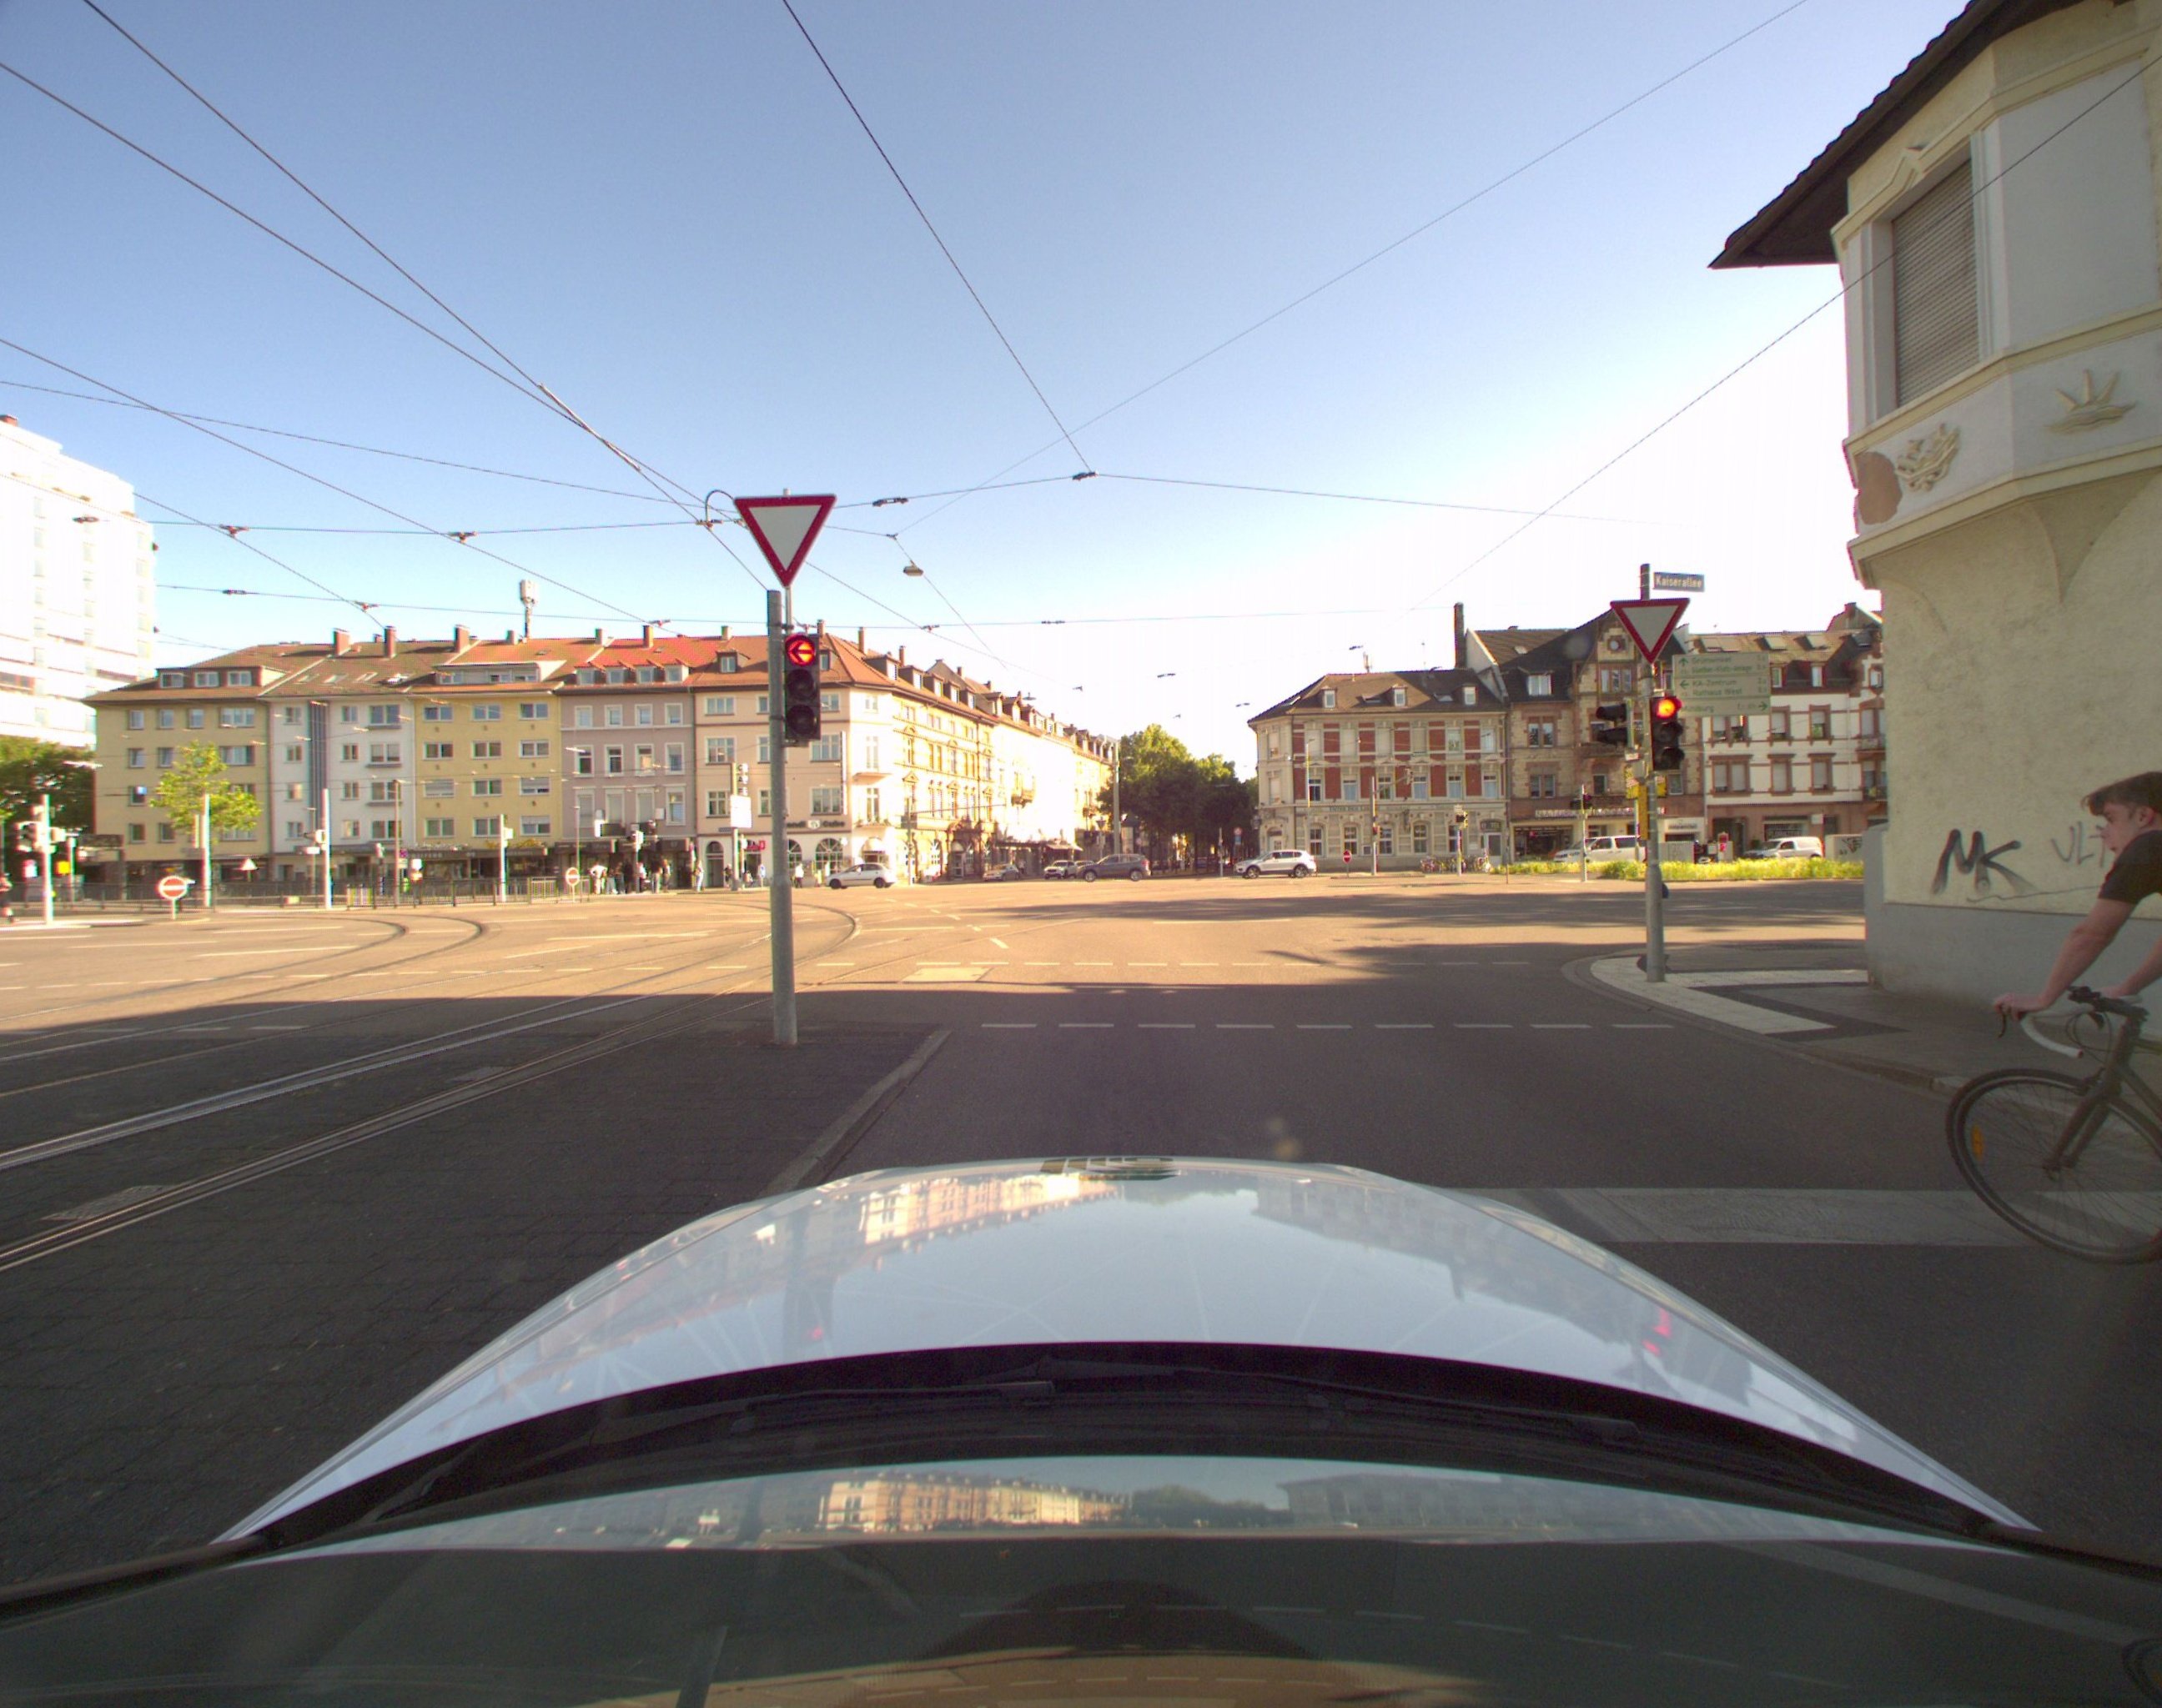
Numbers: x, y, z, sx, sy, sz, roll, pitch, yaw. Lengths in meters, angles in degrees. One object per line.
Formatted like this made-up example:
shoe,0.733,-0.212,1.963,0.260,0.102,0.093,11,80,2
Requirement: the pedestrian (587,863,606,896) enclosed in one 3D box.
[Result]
pedestrian,-25.092,1.306,42.171,0.773,1.682,0.621,-1,0,-36

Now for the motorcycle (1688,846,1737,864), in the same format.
motorcycle,32.140,0.052,41.443,2.033,0.897,0.562,-1,0,1

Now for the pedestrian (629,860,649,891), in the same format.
pedestrian,-22.918,1.091,42.204,0.697,1.581,0.559,-1,0,-4

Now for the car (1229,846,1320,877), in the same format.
car,11.351,0.426,47.990,4.840,1.653,1.999,-1,0,-1

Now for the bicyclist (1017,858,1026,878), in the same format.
bicyclist,-4.763,1.094,65.471,0.486,1.601,0.668,-1,0,12

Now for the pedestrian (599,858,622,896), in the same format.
pedestrian,-23.387,1.115,40.474,0.625,1.850,0.778,-1,0,1

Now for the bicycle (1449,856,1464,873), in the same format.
bicycle,24.318,0.683,52.805,0.483,1.020,1.789,-1,0,12

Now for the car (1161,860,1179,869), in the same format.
car,14.338,1.709,131.260,1.977,1.404,4.189,-1,0,18

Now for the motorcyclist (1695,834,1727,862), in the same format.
motorcyclist,32.077,-0.310,41.463,0.999,1.355,0.744,-1,0,2

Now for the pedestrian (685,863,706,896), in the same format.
pedestrian,-19.859,1.305,42.009,0.738,1.682,0.628,-1,0,1

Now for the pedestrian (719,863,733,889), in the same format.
pedestrian,-23.071,1.409,52.933,0.744,1.682,0.623,-1,0,-23

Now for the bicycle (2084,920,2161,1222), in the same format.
bicycle,4.504,0.861,2.489,0.568,1.165,1.890,-1,0,2

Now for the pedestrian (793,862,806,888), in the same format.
pedestrian,-18.794,1.384,54.325,0.744,1.682,0.623,-1,0,-23

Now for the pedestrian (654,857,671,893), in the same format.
pedestrian,-21.619,1.080,42.048,0.559,1.786,0.559,-1,0,-4

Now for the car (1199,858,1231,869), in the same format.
car,17.342,1.227,105.161,3.959,1.288,1.700,-1,0,13

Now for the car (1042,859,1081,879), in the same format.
car,-1.585,1.218,67.670,1.977,1.516,4.189,-1,0,18

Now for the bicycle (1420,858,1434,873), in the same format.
bicycle,22.486,0.734,52.977,0.483,0.914,1.789,-1,0,12

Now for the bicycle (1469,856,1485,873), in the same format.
bicycle,25.632,0.674,52.762,0.483,1.020,1.789,-1,0,12

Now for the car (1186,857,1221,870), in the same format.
car,14.969,1.157,99.507,3.959,1.454,1.687,-1,0,13

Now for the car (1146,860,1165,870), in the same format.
car,11.208,1.689,122.501,1.977,1.404,4.189,-1,0,18

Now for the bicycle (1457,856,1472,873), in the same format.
bicycle,24.821,0.679,52.714,0.483,1.020,1.789,-1,0,12

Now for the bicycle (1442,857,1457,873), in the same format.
bicycle,23.858,0.686,52.755,0.483,1.020,1.789,-1,0,12

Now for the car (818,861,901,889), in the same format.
car,-12.330,1.147,45.500,4.013,1.423,1.886,-1,0,1

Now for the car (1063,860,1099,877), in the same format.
car,0.036,1.312,73.807,1.977,1.404,4.189,-1,0,18

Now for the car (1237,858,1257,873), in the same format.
car,16.805,1.133,82.293,1.742,1.420,4.016,-1,0,14

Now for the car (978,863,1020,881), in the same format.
car,-6.754,1.477,67.364,1.977,1.361,3.836,-1,0,18

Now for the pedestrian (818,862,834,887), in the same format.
pedestrian,-17.651,1.418,56.331,0.907,1.682,0.742,-1,0,-5

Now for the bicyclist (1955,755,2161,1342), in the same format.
bicyclist,3.559,0.579,2.501,0.649,1.767,0.995,-1,0,2

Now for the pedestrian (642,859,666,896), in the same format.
pedestrian,-21.544,1.166,41.071,0.764,1.829,0.723,-1,0,1

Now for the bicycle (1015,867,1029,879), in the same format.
bicycle,-4.758,1.532,65.569,0.650,1.000,1.671,-1,-1,14

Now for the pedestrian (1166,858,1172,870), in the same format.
pedestrian,10.762,1.220,99.620,0.542,1.385,0.628,-1,0,18

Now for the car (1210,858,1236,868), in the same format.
car,19.387,1.215,111.189,3.409,1.239,1.582,-1,0,13

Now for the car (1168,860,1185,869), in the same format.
car,16.038,1.739,136.419,1.977,1.404,4.189,-1,0,18

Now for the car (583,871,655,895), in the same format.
car,-30.342,1.899,53.537,3.711,1.491,1.820,0,-1,4

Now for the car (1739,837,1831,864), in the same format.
car,45.296,-0.240,52.480,4.239,1.622,1.999,-1,0,-1

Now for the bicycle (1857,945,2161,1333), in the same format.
bicycle,3.561,0.922,2.503,0.568,1.058,1.890,-1,0,2

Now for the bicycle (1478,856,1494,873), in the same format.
bicycle,26.337,0.670,52.917,0.483,1.020,1.789,-1,0,12

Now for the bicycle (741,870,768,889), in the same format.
bicycle,-22.992,1.762,57.321,1.714,1.276,0.385,-1,0,-16

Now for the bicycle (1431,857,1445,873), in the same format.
bicycle,23.163,0.724,52.874,0.483,1.020,1.789,-1,0,12

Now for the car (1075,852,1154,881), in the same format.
car,1.977,0.727,48.373,4.566,1.615,1.999,-1,0,-1

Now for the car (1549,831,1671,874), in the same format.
car,27.127,-0.081,41.892,4.962,2.013,2.001,-1,0,1
